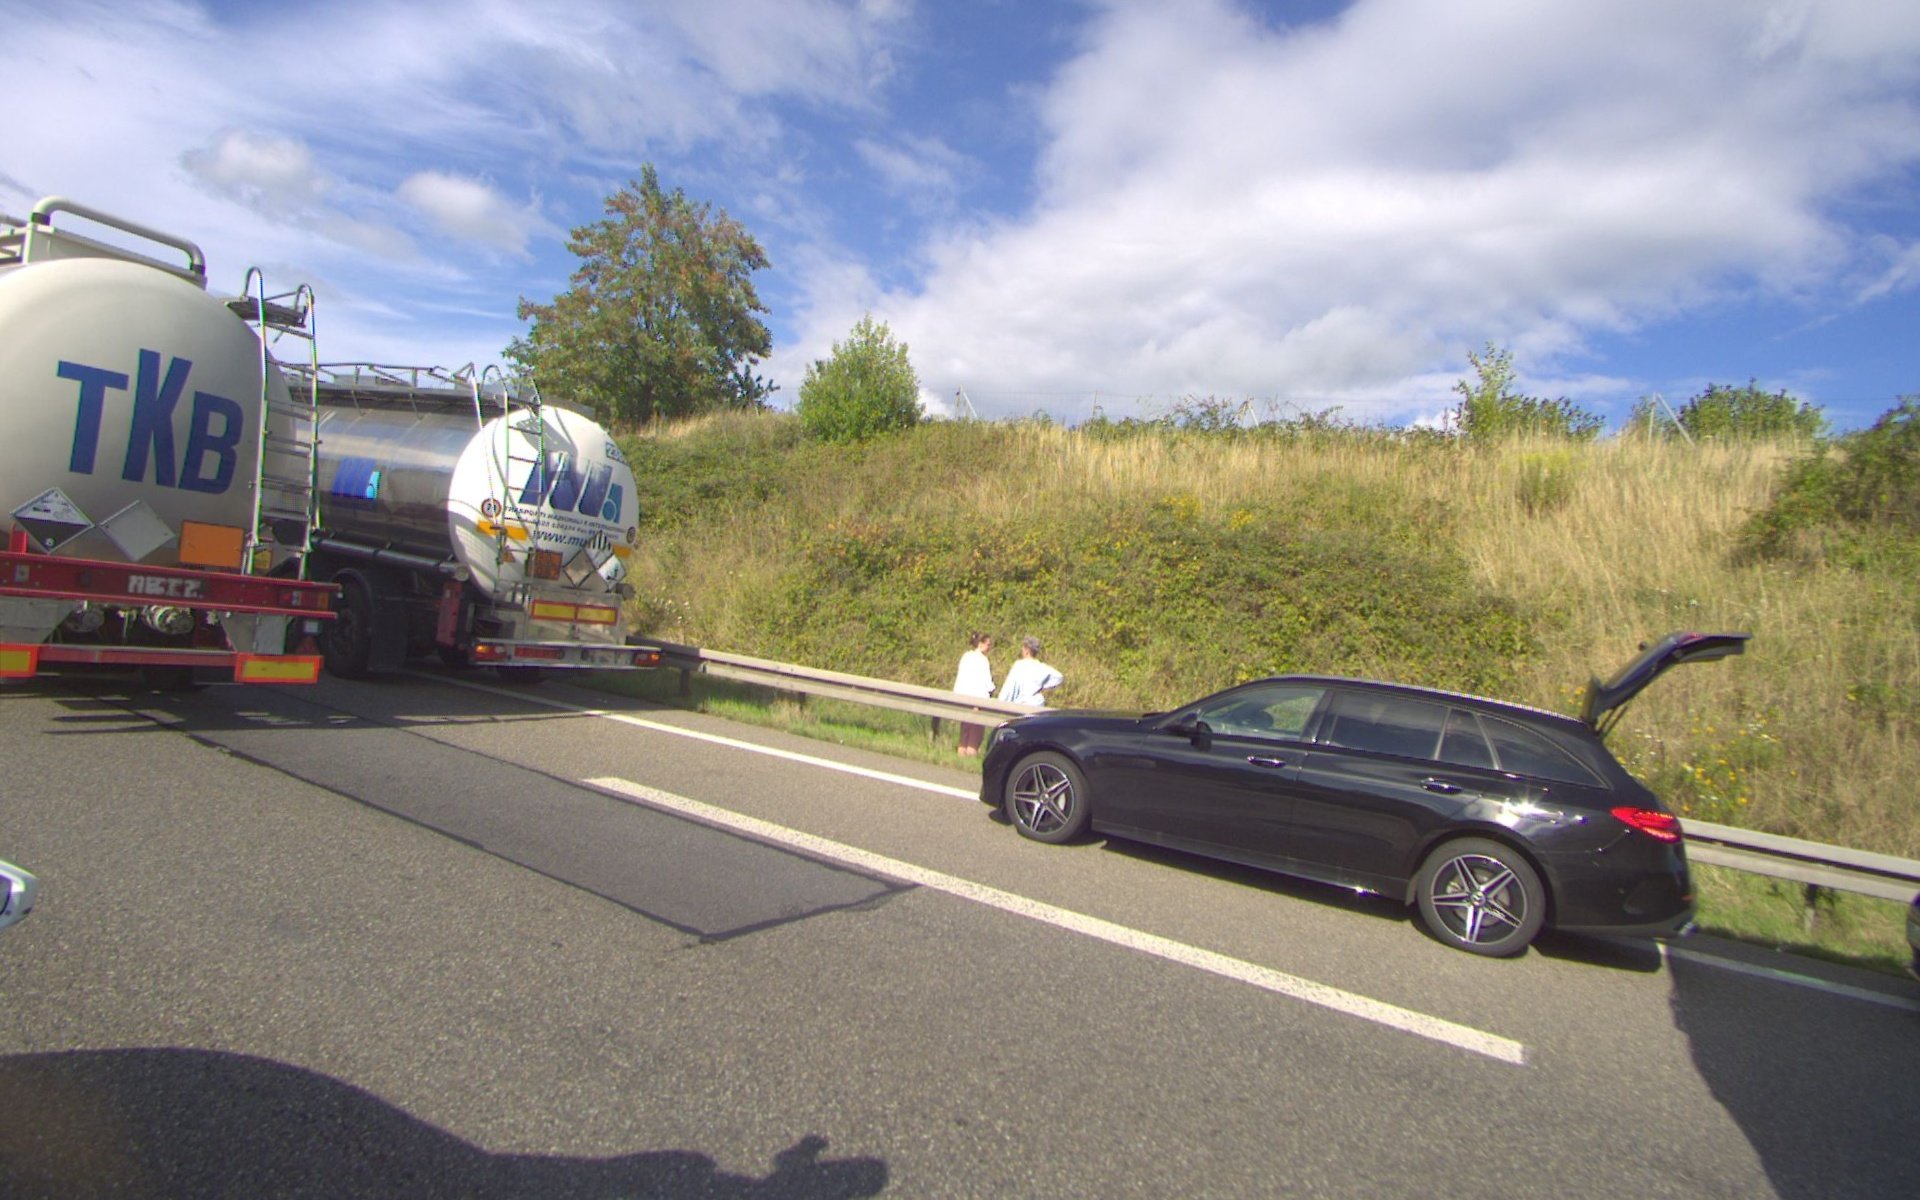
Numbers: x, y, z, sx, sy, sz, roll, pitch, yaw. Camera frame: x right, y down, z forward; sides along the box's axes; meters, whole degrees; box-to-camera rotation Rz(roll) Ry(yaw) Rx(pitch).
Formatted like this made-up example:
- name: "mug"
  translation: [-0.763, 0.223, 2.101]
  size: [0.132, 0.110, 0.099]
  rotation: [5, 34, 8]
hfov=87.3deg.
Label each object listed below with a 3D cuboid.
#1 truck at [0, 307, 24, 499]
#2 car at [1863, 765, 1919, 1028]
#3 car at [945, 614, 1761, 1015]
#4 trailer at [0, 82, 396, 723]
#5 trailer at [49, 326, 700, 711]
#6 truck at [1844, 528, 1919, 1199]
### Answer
- name: "truck"
  translation: [-14.786, -2.041, 12.587]
  size: [6.617, 3.626, 2.538]
  rotation: [6, -1, 32]
- name: "car"
  translation: [6.922, 1.830, 4.671]
  size: [3.675, 1.368, 1.636]
  rotation: [7, -1, 31]
- name: "car"
  translation: [2.443, 1.190, 7.108]
  size: [4.658, 1.531, 1.904]
  rotation: [7, -1, 31]
- name: "trailer"
  translation: [-9.613, -1.519, 9.375]
  size: [10.450, 3.697, 2.545]
  rotation: [6, -1, 32]
- name: "trailer"
  translation: [-8.277, -1.141, 13.297]
  size: [10.450, 3.641, 2.545]
  rotation: [6, -1, 32]
- name: "truck"
  translation: [5.016, -0.012, 0.403]
  size: [6.256, 4.108, 2.712]
  rotation: [6, -1, 32]
